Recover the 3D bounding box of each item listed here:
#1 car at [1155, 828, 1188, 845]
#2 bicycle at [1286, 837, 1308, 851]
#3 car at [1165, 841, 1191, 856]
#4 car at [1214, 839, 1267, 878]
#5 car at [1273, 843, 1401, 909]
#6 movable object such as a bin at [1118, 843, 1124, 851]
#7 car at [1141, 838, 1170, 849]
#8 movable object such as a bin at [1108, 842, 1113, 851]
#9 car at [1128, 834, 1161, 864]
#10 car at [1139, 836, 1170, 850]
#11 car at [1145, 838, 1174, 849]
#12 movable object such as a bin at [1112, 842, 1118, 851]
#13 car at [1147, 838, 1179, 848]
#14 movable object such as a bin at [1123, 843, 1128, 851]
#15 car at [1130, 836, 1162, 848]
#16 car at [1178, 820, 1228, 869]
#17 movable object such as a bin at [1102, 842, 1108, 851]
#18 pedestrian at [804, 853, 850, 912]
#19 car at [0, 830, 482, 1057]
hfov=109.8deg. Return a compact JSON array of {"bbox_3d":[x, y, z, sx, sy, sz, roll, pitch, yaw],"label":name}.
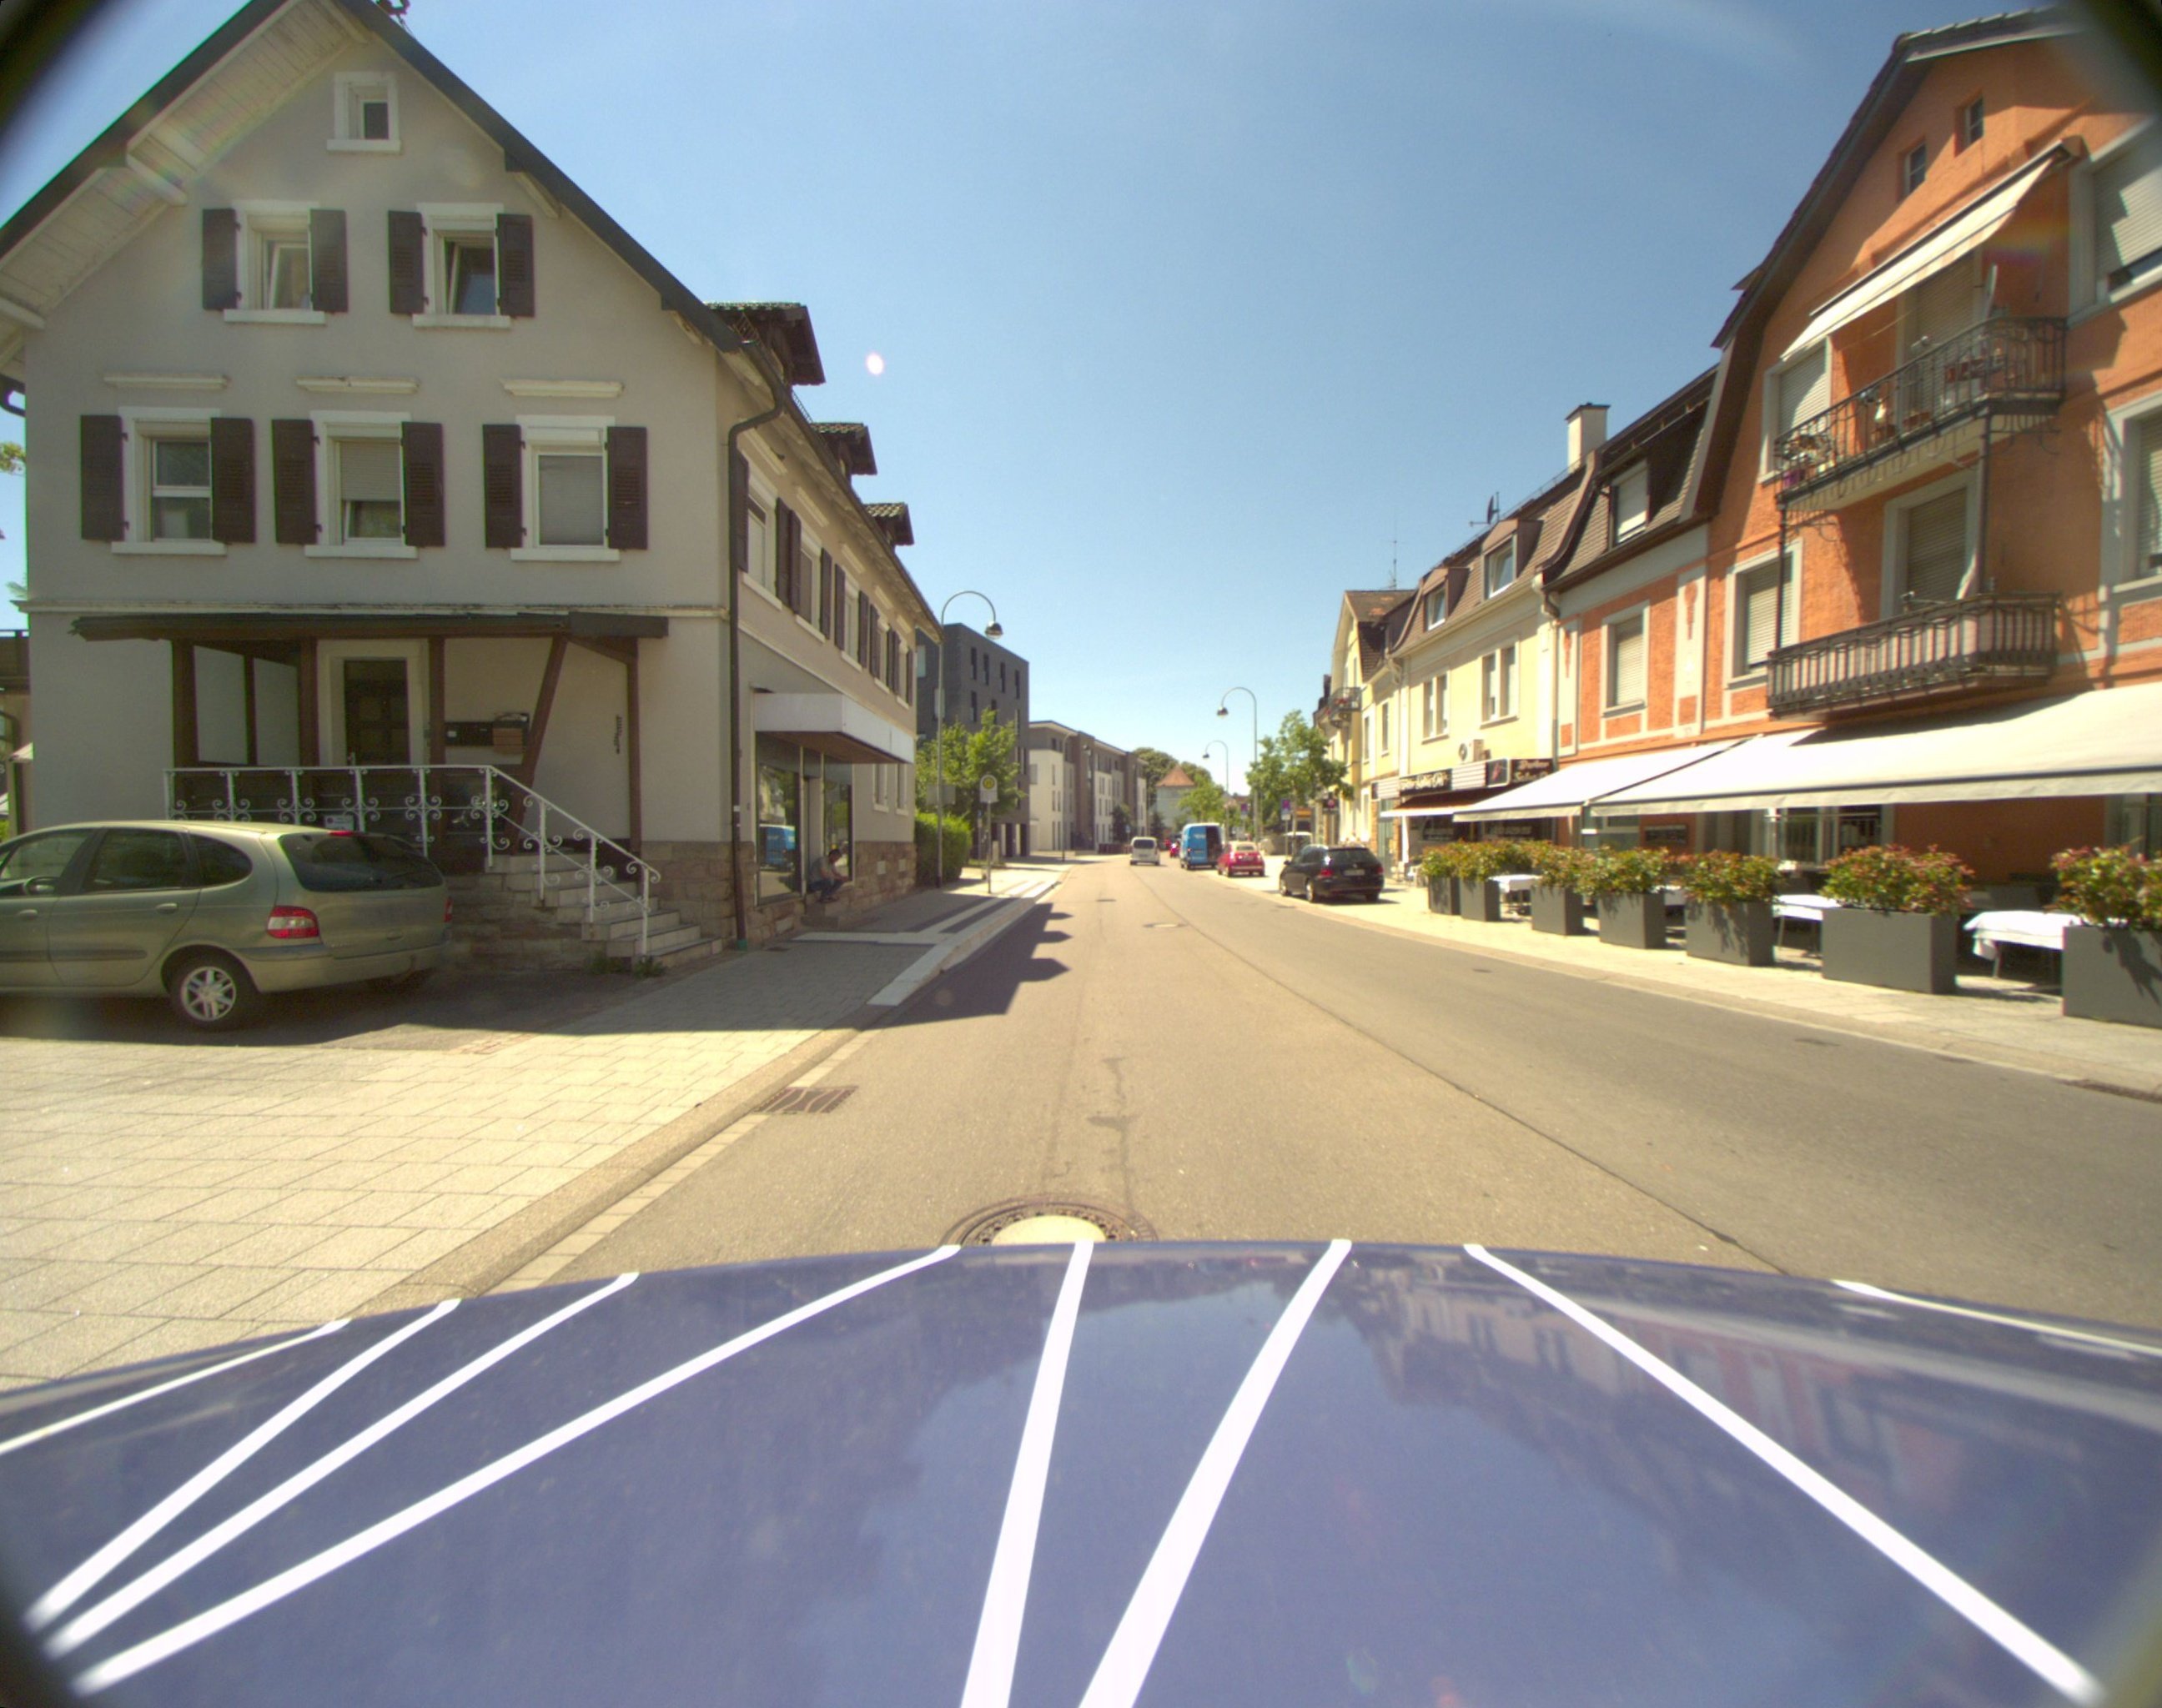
[{"bbox_3d":[14.265,-2.801,119.927,4.860,2.721,1.853,1,2,18],"label":"car"},{"bbox_3d":[19.102,-0.920,67.175,1.767,1.227,0.617,1,1,13],"label":"bicycle"},{"bbox_3d":[9.871,-0.565,76.953,1.917,1.418,3.985,0,1,17],"label":"car"},{"bbox_3d":[7.009,0.157,33.668,1.563,1.512,3.514,-1,2,0],"label":"car"},{"bbox_3d":[6.699,0.491,20.419,1.920,1.473,4.336,-3,1,0],"label":"car"},{"bbox_3d":[4.430,-0.793,83.712,0.473,0.925,0.529,2,3,18],"label":"movable object such as a bin"},{"bbox_3d":[10.161,-1.464,103.214,3.611,1.454,1.618,2,2,17],"label":"car"},{"bbox_3d":[3.243,-0.827,83.967,0.473,0.925,0.529,2,3,18],"label":"movable object such as a bin"},{"bbox_3d":[4.090,-0.332,49.328,1.998,1.812,4.416,1,1,5],"label":"car"},{"bbox_3d":[9.660,-1.515,100.004,3.813,1.776,1.842,1,2,16],"label":"car"},{"bbox_3d":[10.923,-1.473,105.946,3.812,1.454,1.654,1,2,17],"label":"car"},{"bbox_3d":[3.779,-0.811,83.845,0.473,0.925,0.529,2,3,18],"label":"movable object such as a bin"},{"bbox_3d":[11.884,-1.605,110.171,4.353,1.542,1.653,1,2,15],"label":"car"},{"bbox_3d":[4.892,-0.780,83.473,0.473,0.925,0.529,2,3,18],"label":"movable object such as a bin"},{"bbox_3d":[8.377,-1.598,98.151,3.813,1.474,1.780,1,2,16],"label":"car"},{"bbox_3d":[6.695,-0.549,42.289,2.097,2.484,5.503,-2,1,3],"label":"car"},{"bbox_3d":[2.643,-0.833,84.168,0.473,0.925,0.529,2,3,18],"label":"movable object such as a bin"},{"bbox_3d":[-4.454,0.490,13.352,0.591,0.994,0.723,1,2,-2],"label":"pedestrian"},{"bbox_3d":[-7.897,0.638,6.548,4.071,1.586,1.802,2,2,1],"label":"car"}]
